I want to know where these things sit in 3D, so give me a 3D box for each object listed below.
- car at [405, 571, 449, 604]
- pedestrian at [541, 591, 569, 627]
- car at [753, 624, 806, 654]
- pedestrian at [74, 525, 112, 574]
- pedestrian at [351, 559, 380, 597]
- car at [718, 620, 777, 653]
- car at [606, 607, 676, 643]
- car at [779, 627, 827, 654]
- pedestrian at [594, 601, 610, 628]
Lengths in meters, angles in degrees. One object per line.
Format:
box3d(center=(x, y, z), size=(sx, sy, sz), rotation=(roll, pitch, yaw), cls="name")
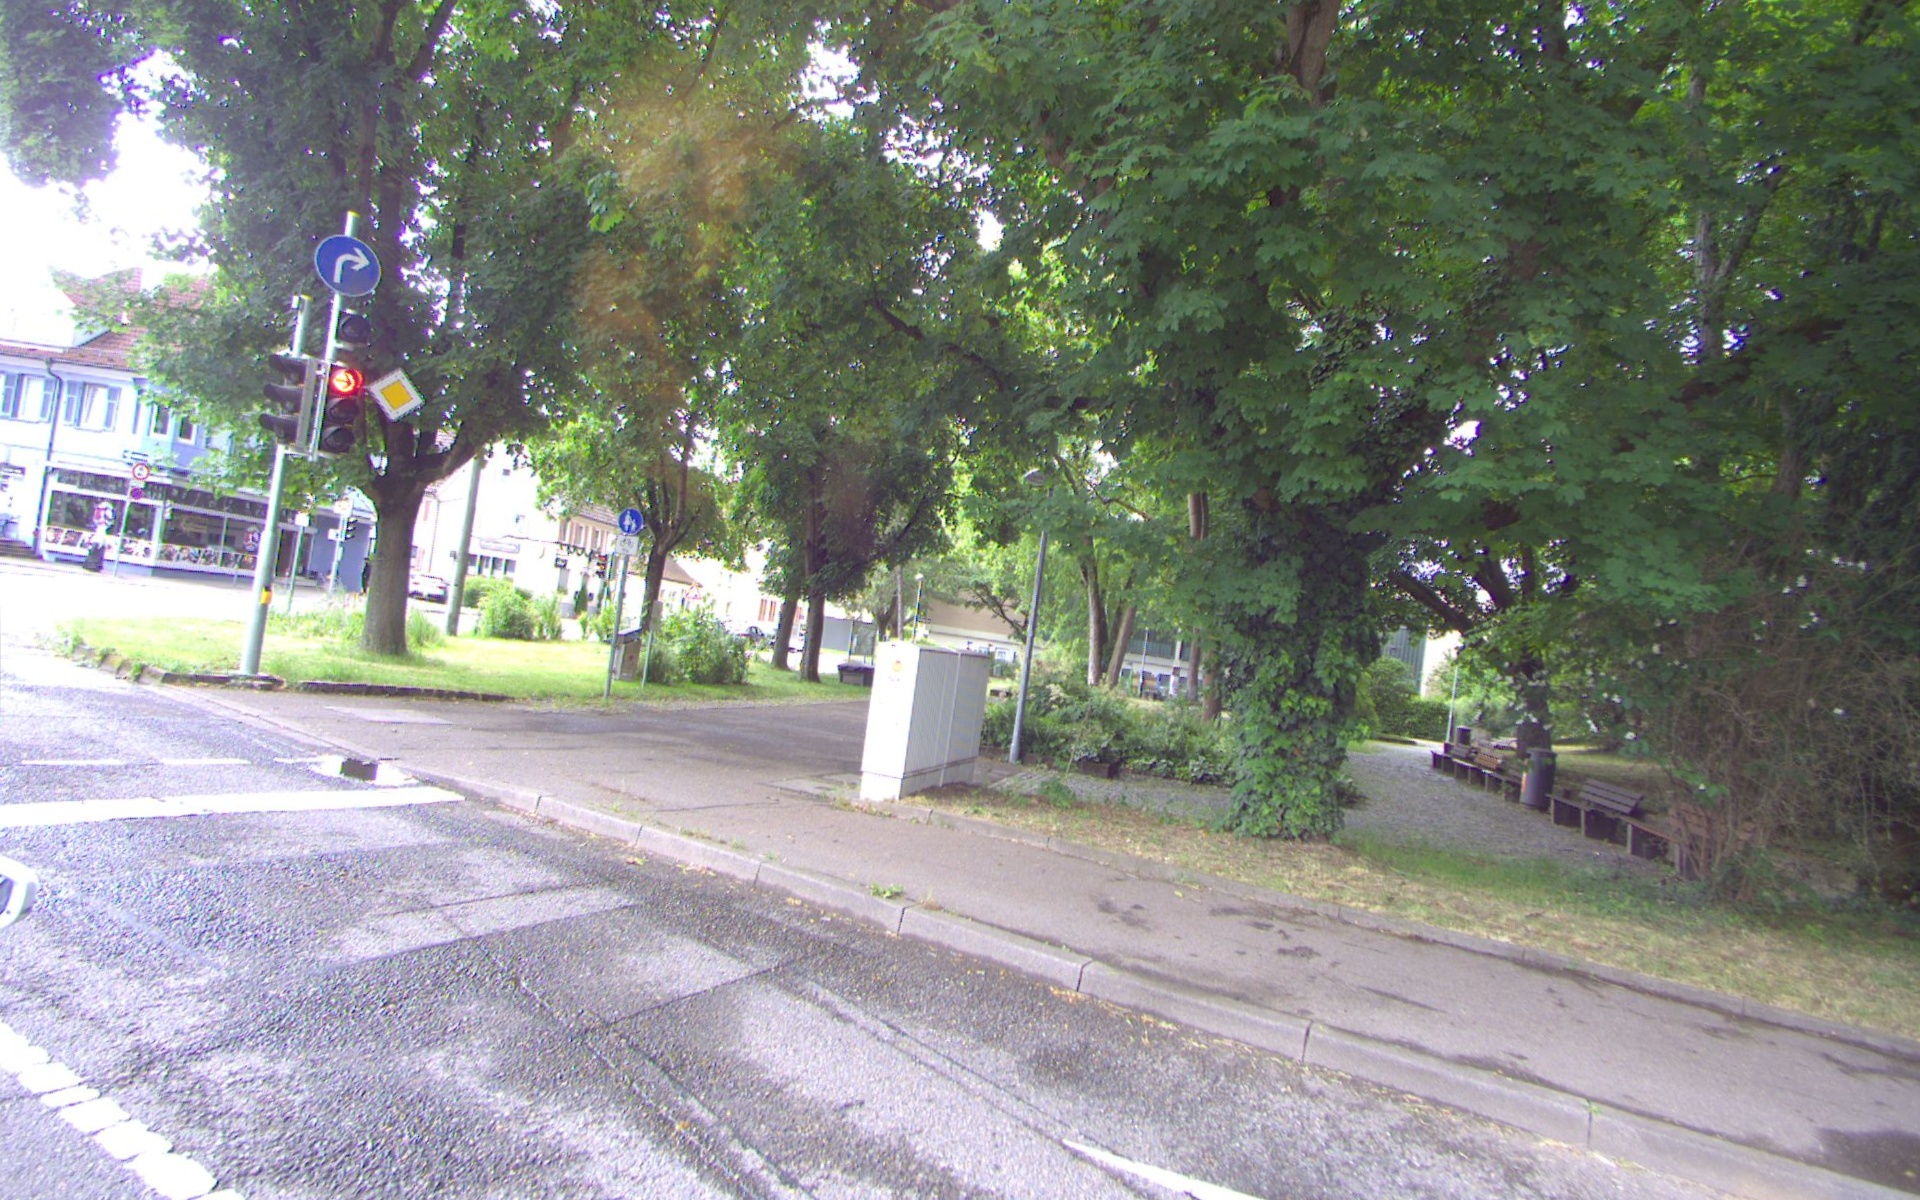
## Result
box3d(center=(-28.169, -0.690, 53.161), size=(1.870, 1.406, 3.589), rotation=(9, -2, -28), cls="car")
box3d(center=(-13.016, 0.290, 32.321), size=(0.506, 1.093, 0.507), rotation=(6, -1, 17), cls="pedestrian")
box3d(center=(-10.694, 2.337, 59.906), size=(1.618, 1.474, 3.740), rotation=(7, -2, 13), cls="car")
box3d(center=(-29.685, -1.729, 34.449), size=(0.688, 1.578, 0.662), rotation=(7, -1, -27), cls="pedestrian")
box3d(center=(-26.838, -0.980, 45.432), size=(0.732, 1.578, 0.673), rotation=(6, -1, 17), cls="pedestrian")
box3d(center=(-11.557, 2.014, 54.933), size=(1.618, 1.474, 3.740), rotation=(7, -2, 13), cls="car")
box3d(center=(-13.958, 1.110, 44.134), size=(1.436, 1.282, 3.014), rotation=(7, -2, 13), cls="car")
box3d(center=(-10.268, 2.654, 66.038), size=(1.618, 1.474, 3.740), rotation=(7, -2, 13), cls="car")
box3d(center=(-21.545, 0.868, 60.523), size=(0.500, 1.578, 0.505), rotation=(6, -1, 17), cls="pedestrian")
